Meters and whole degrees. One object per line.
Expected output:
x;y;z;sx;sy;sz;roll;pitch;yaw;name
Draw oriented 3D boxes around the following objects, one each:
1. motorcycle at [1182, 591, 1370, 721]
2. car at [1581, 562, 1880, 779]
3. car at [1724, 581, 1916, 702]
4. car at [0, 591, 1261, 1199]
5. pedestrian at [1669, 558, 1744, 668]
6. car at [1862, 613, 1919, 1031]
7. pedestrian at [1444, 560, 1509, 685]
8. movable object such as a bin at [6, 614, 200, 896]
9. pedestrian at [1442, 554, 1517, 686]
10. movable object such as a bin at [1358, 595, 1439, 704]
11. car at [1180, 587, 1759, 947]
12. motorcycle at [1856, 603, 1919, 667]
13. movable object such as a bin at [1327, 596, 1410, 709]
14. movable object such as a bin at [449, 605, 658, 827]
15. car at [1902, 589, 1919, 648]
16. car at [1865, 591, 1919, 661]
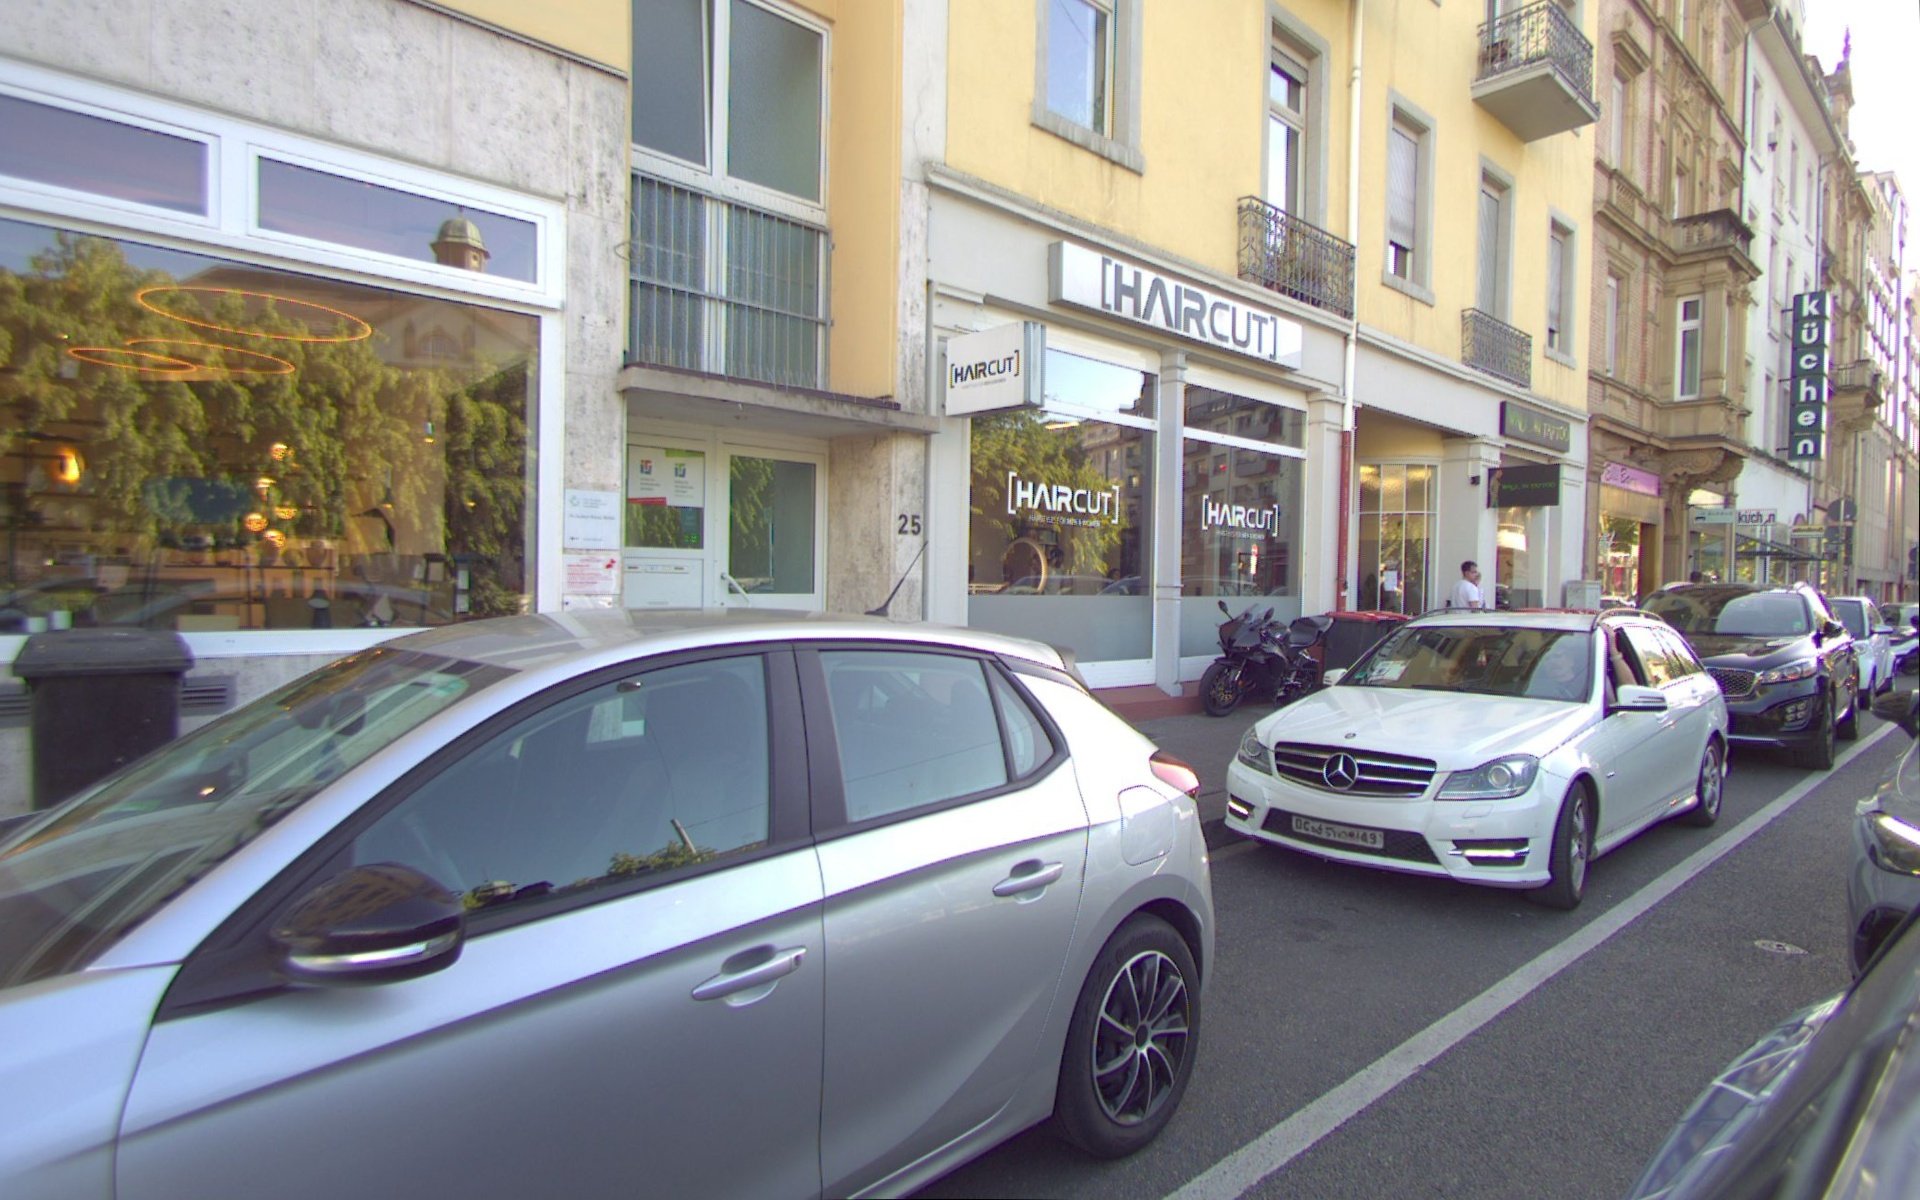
3.325;0.520;10.529;2.208;1.179;0.773;0;4;-41;motorcycle
8.021;0.532;10.348;1.853;1.719;4.623;1;1;45;car
12.692;0.526;14.902;2.965;1.587;1.695;0;1;-40;car
-1.027;0.698;2.321;3.642;1.415;1.652;0;1;-42;car
11.477;0.181;15.566;0.750;1.637;0.794;0;1;-43;pedestrian
5.334;0.771;4.284;4.183;1.396;1.846;0;1;-42;car
7.018;0.290;13.749;0.631;1.637;0.572;0;0;-40;pedestrian
-3.674;0.598;4.363;0.591;1.041;0.812;0;1;-40;movable object such as a bin
6.678;0.245;13.003;0.689;1.637;0.641;0;0;-42;pedestrian
5.151;0.563;11.891;0.633;1.222;0.647;0;0;-40;movable object such as a bin
3.460;0.676;6.387;4.519;1.480;1.757;0;1;-42;car
19.292;0.706;20.520;1.514;1.248;0.771;1;0;1;motorcycle
4.641;0.569;11.502;0.633;1.222;0.647;0;0;-40;movable object such as a bin
-2.240;0.578;5.575;0.878;1.066;0.752;0;1;-40;movable object such as a bin
26.405;0.479;26.863;3.931;1.504;1.713;0;1;-42;car
22.131;0.557;23.161;3.931;1.504;1.713;0;1;-42;car
